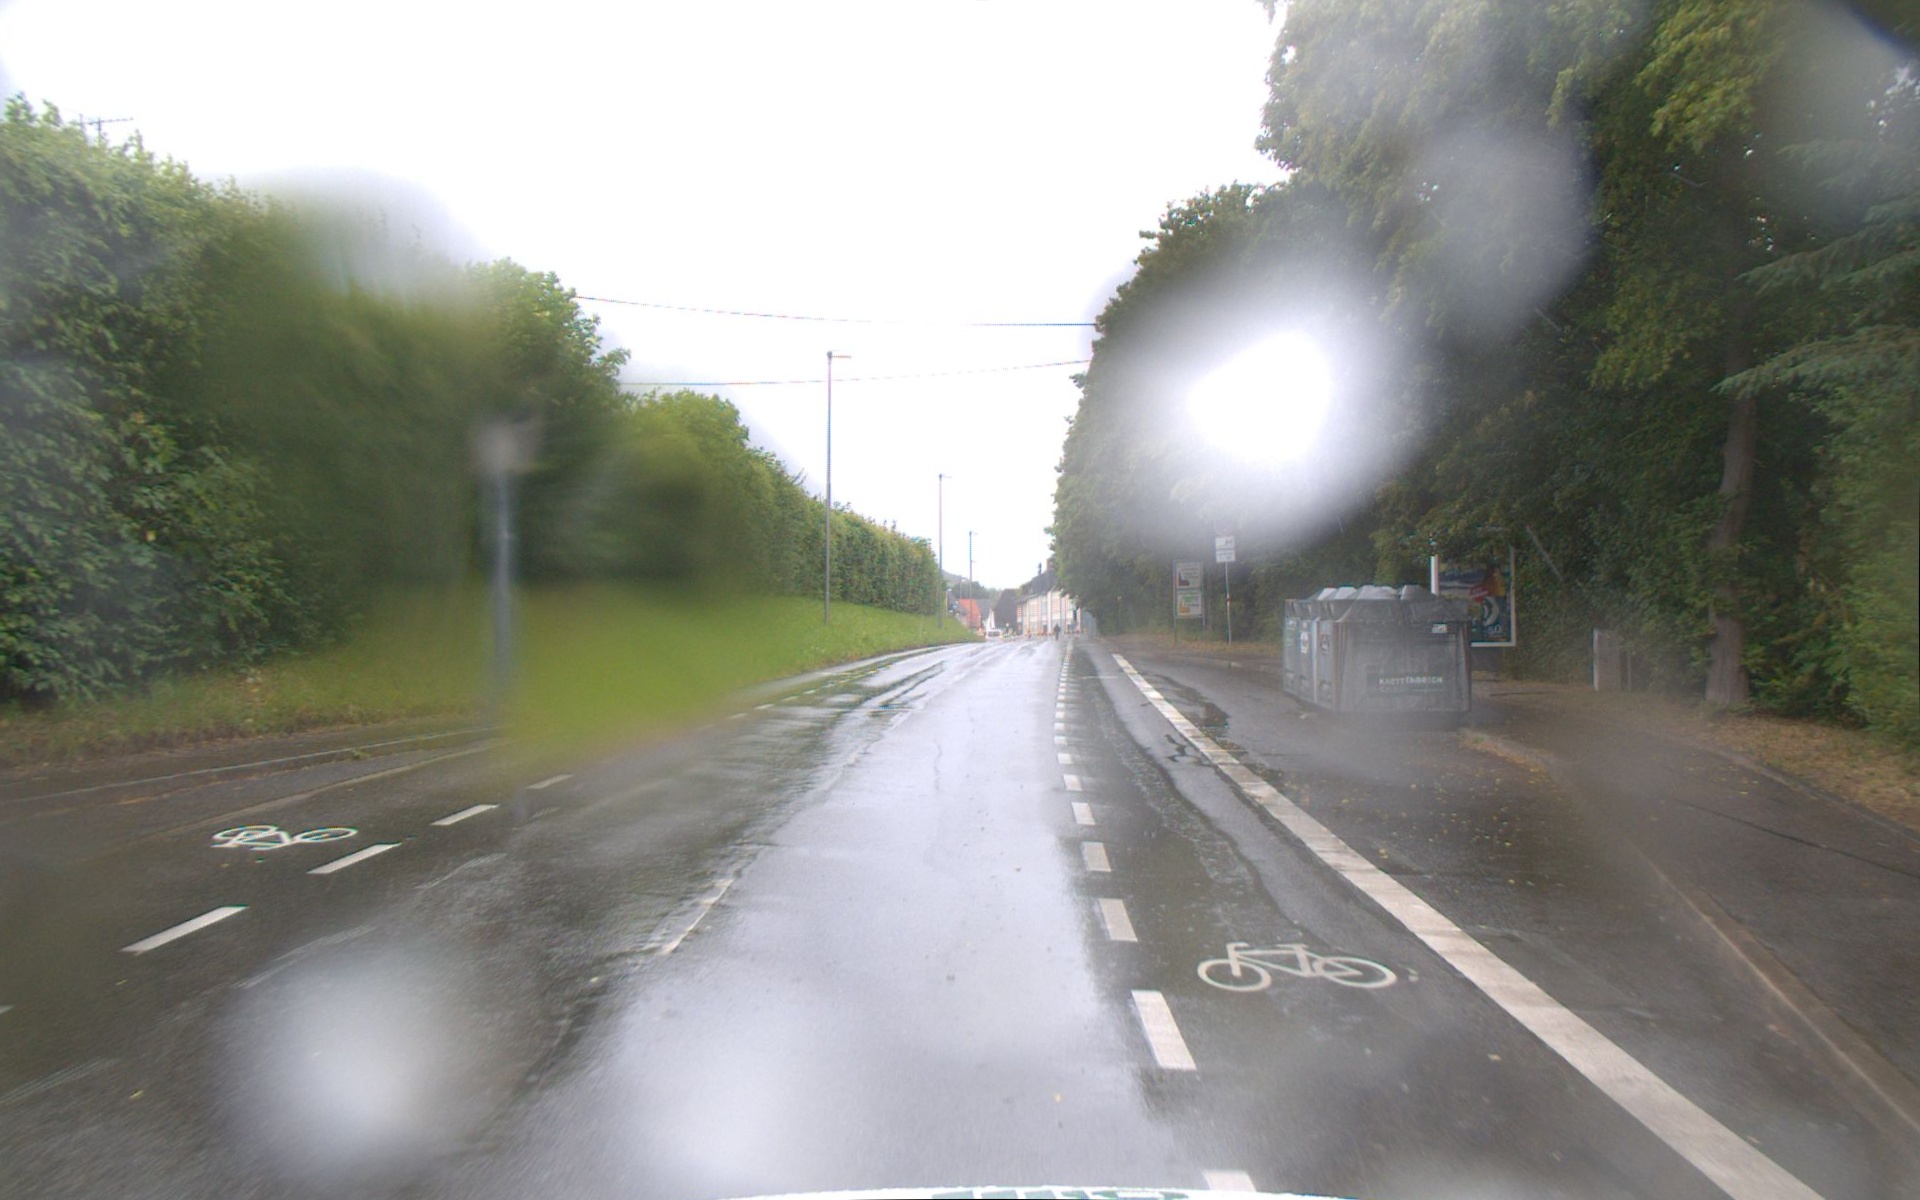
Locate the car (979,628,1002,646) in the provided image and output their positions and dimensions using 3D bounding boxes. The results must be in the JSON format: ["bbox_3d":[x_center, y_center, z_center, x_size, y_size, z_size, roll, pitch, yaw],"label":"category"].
[{"bbox_3d":[3.134,3.791,170.044,1.955,1.639,3.995,1,0,-5],"label":"car"}]
